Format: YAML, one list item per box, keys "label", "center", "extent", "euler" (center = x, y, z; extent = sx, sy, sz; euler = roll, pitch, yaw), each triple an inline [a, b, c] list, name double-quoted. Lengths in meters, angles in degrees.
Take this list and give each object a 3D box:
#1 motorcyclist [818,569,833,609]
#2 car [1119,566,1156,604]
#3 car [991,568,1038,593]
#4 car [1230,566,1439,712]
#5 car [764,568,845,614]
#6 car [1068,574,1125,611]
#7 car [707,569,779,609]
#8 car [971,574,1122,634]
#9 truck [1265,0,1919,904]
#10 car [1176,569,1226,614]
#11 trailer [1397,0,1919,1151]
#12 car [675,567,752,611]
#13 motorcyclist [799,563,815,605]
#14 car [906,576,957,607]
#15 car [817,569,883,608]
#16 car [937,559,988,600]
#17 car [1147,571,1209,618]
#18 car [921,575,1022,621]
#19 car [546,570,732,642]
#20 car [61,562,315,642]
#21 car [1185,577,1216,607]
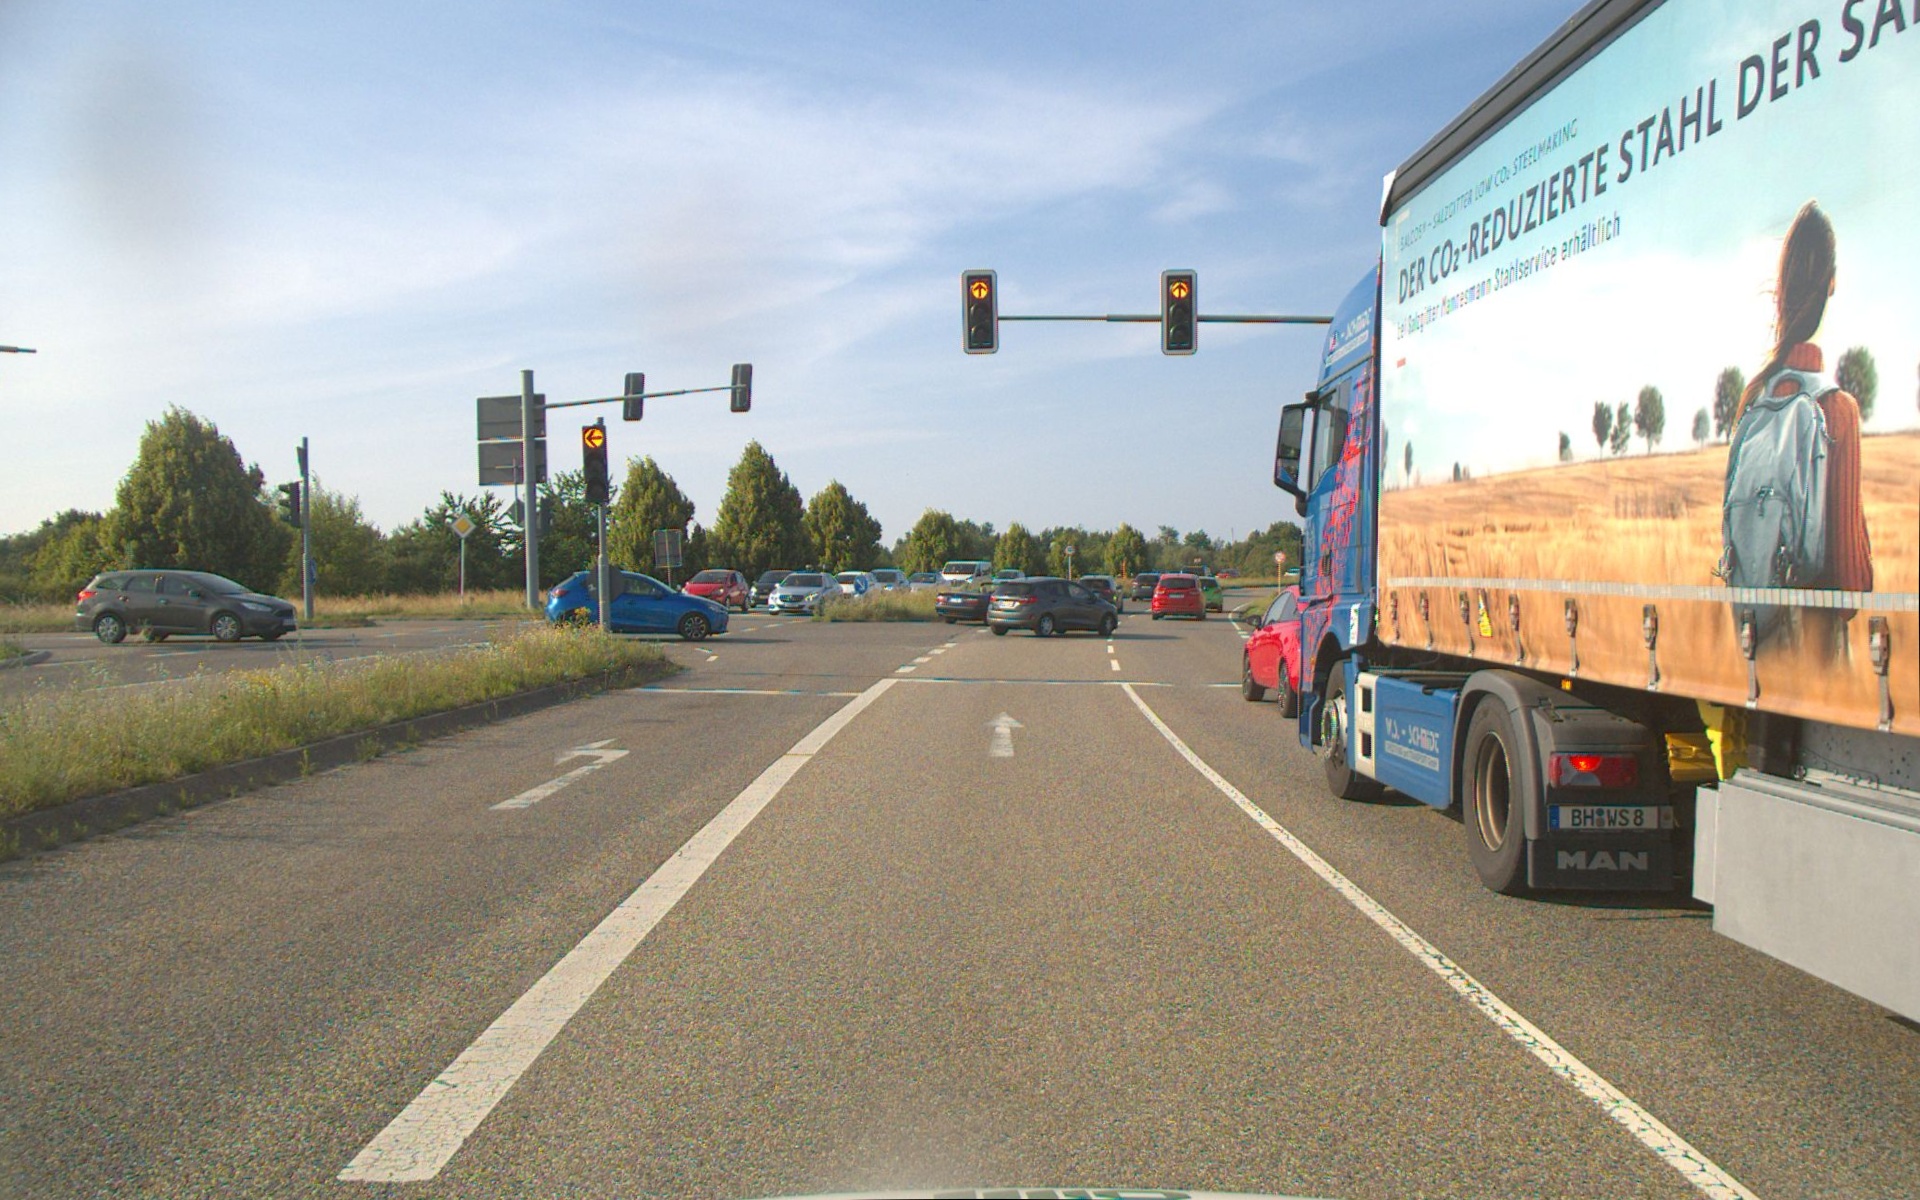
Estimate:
- label: "motorcyclist"
  center: [-6.209, -0.508, 76.329]
  extent: [0.648, 1.848, 0.605]
  euler: [0, 0, 1]
- label: "car"
  center: [9.511, -0.767, 88.845]
  extent: [1.868, 1.949, 4.280]
  euler: [0, 0, 5]
- label: "car"
  center: [3.250, -1.149, 97.525]
  extent: [1.748, 1.410, 4.054]
  euler: [0, 1, 17]
- label: "car"
  center: [4.397, 0.401, 19.923]
  extent: [1.662, 1.576, 3.750]
  euler: [0, 1, 0]
- label: "car"
  center: [-5.321, -0.321, 57.080]
  extent: [1.748, 1.514, 4.655]
  euler: [0, 1, 8]
- label: "car"
  center: [5.459, -0.284, 65.661]
  extent: [1.797, 1.401, 4.281]
  euler: [0, 0, 11]
- label: "car"
  center: [-8.375, -0.444, 64.073]
  extent: [1.748, 1.458, 4.055]
  euler: [0, 1, 8]
- label: "car"
  center: [2.233, 0.114, 42.005]
  extent: [1.887, 1.440, 3.772]
  euler: [0, -1, 42]
- label: "truck"
  center: [4.156, -0.946, 10.736]
  extent: [3.233, 4.739, 5.732]
  euler: [0, 0, 0]
- label: "car"
  center: [10.246, -0.330, 70.107]
  extent: [1.868, 1.831, 4.281]
  euler: [0, -1, 11]
- label: "trailer"
  center: [4.250, -0.854, 3.183]
  extent: [3.214, 4.763, 13.146]
  euler: [0, 1, 0]
- label: "car"
  center: [-8.784, -0.411, 59.231]
  extent: [1.684, 1.514, 3.808]
  euler: [0, 1, 9]
- label: "motorcyclist"
  center: [-6.604, -0.693, 71.425]
  extent: [0.648, 1.778, 0.605]
  euler: [0, 0, 1]
- label: "car"
  center: [-1.311, -0.418, 76.978]
  extent: [1.748, 1.410, 4.055]
  euler: [0, 1, 8]
- label: "car"
  center: [-4.258, -0.452, 64.776]
  extent: [1.748, 1.458, 4.313]
  euler: [0, 1, 8]
- label: "car"
  center: [0.164, -1.077, 86.416]
  extent: [1.884, 2.114, 4.247]
  euler: [0, 1, 11]
- label: "car"
  center: [7.768, -0.181, 58.650]
  extent: [1.855, 1.592, 4.281]
  euler: [0, 0, 12]
- label: "car"
  center: [0.404, -0.045, 50.053]
  extent: [1.869, 1.346, 4.280]
  euler: [0, -1, 18]
- label: "car"
  center: [-7.013, 0.105, 36.216]
  extent: [3.901, 1.518, 1.774]
  euler: [0, 1, -12]
- label: "car"
  center: [-15.927, 0.034, 34.257]
  extent: [4.421, 1.593, 1.817]
  euler: [0, 0, 4]
- label: "car"
  center: [14.746, -0.445, 101.272]
  extent: [1.868, 1.764, 4.281]
  euler: [0, 0, 9]
